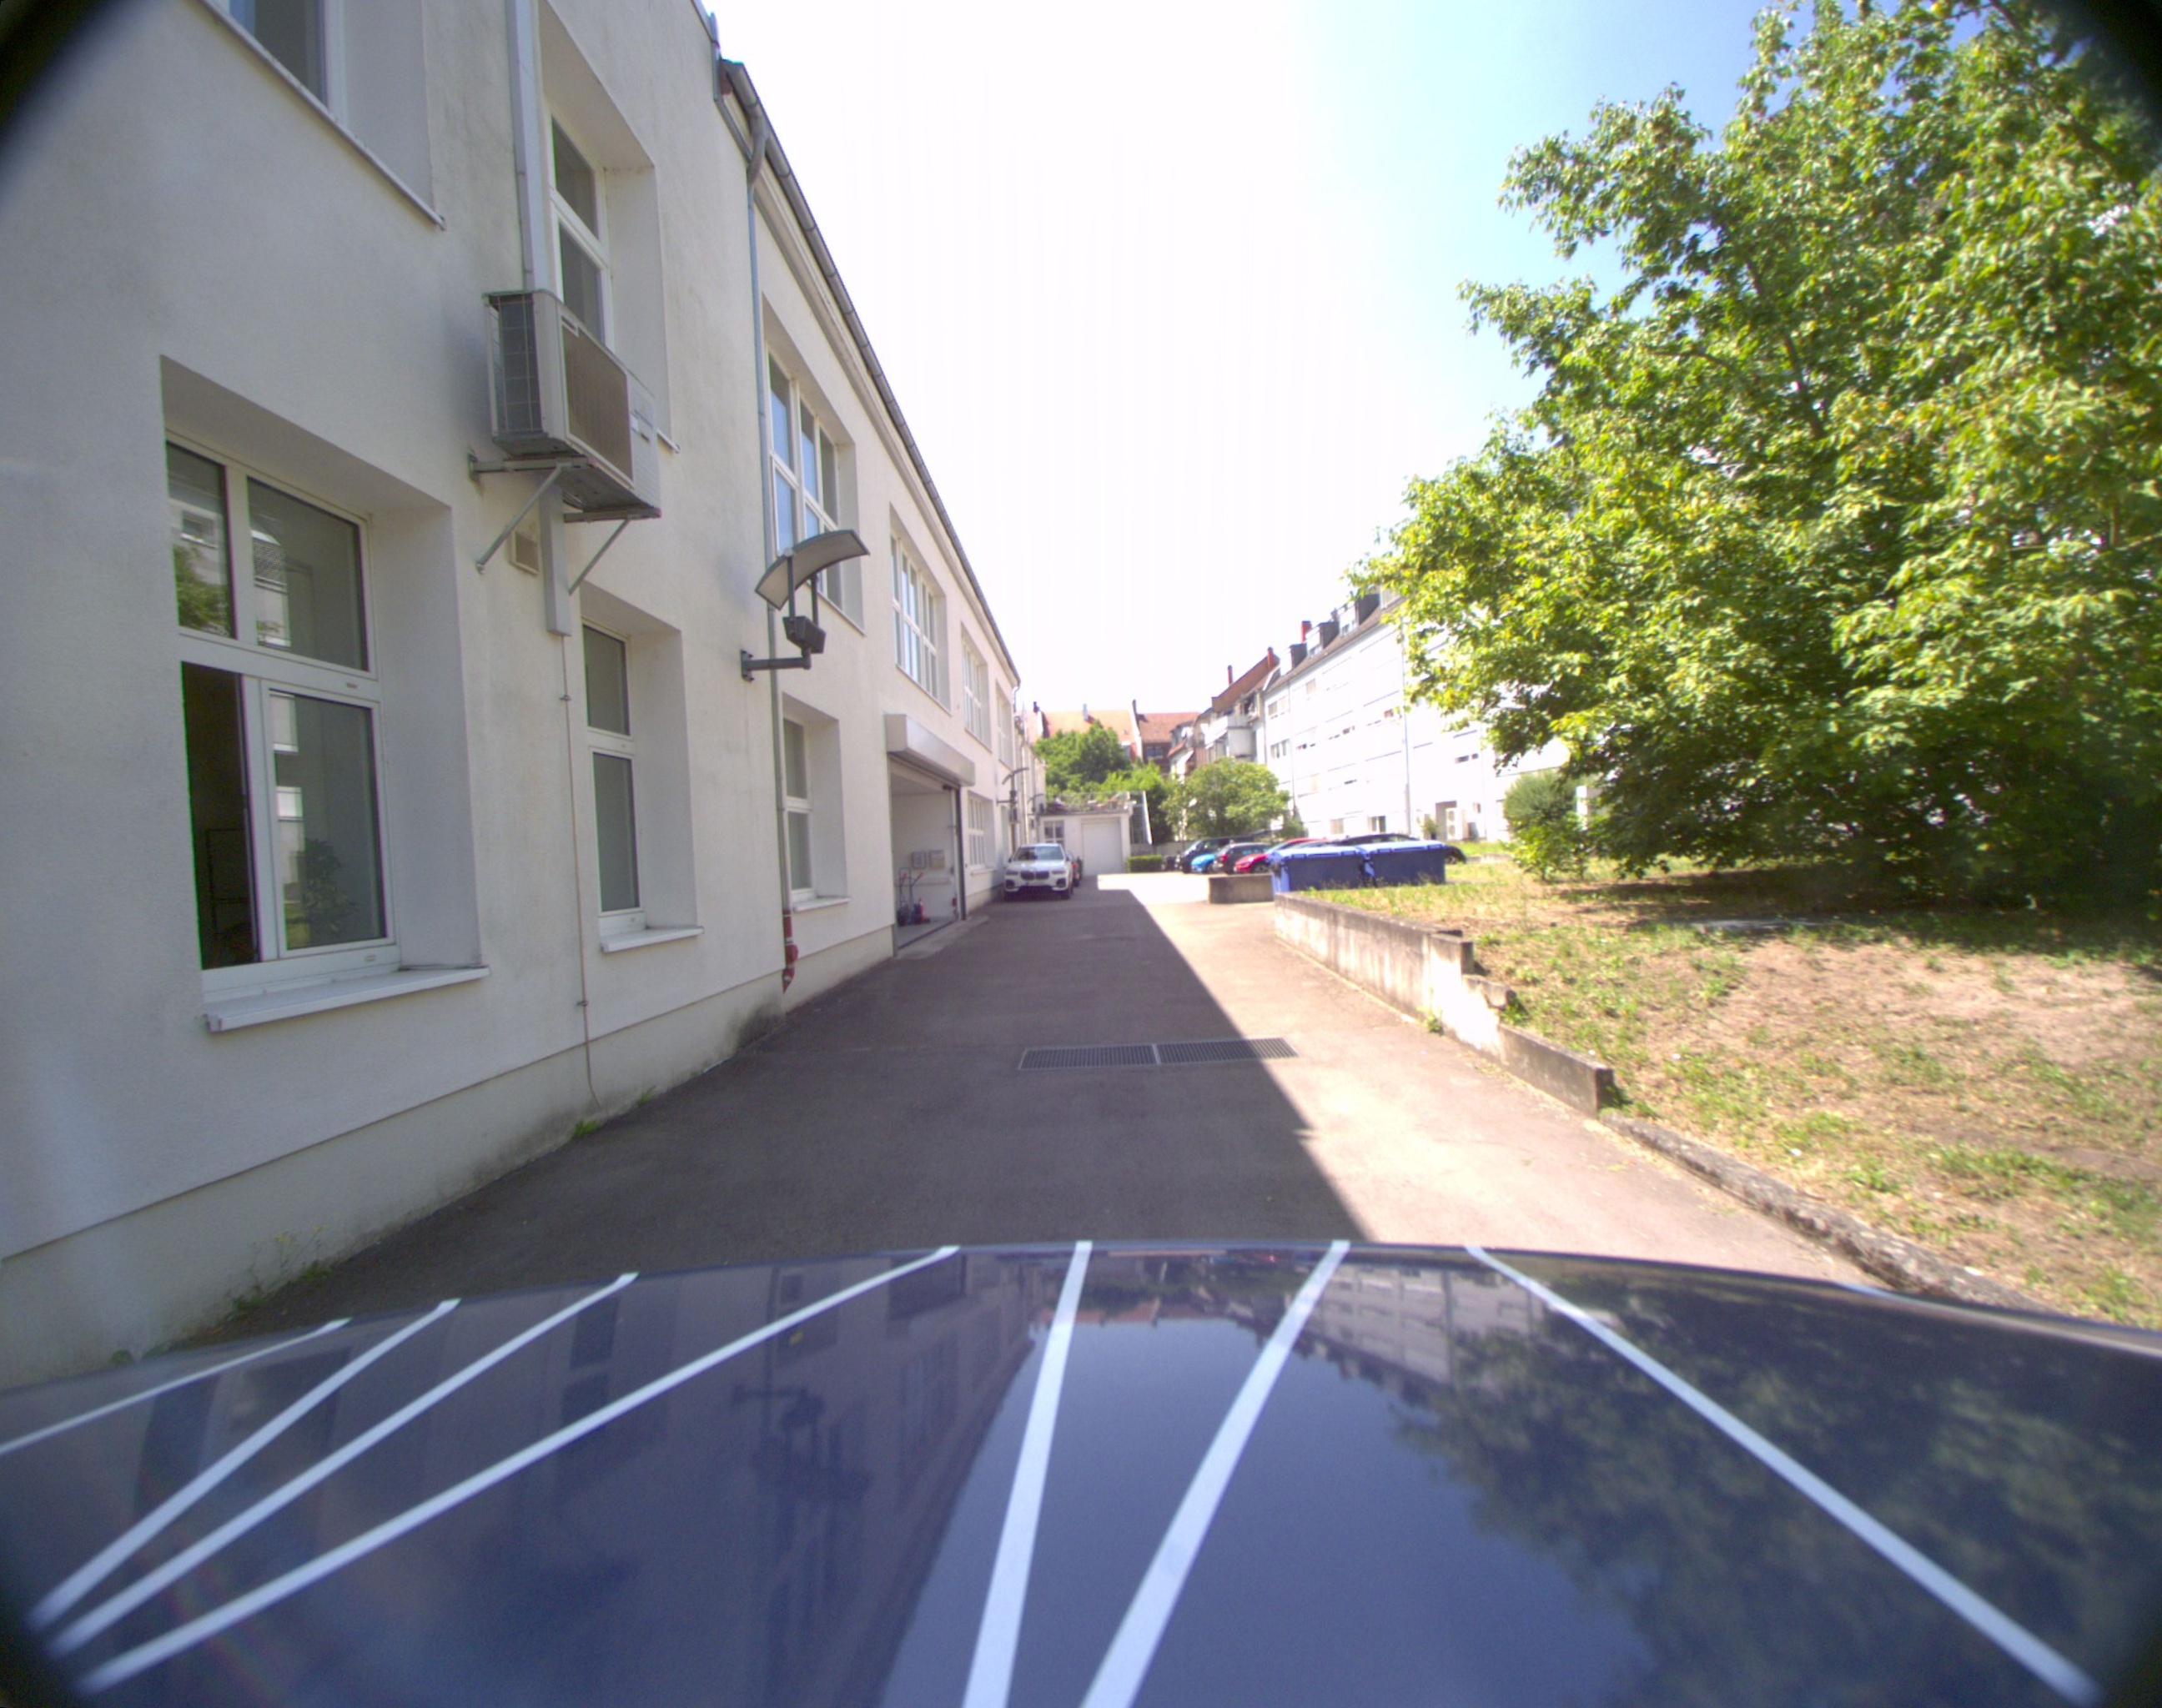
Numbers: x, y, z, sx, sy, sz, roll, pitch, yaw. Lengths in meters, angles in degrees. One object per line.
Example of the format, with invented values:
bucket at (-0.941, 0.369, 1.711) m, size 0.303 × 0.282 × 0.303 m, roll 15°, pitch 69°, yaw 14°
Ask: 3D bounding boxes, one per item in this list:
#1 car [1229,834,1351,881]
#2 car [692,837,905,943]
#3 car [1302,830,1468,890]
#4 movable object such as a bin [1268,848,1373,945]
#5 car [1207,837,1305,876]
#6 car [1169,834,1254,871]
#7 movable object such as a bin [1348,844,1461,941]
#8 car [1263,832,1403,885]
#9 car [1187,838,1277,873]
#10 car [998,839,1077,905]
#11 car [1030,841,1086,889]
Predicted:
car at (8.034, 0.103, 29.450) m, size 4.223 × 1.560 × 1.612 m, roll -3°, pitch 2°, yaw -4°
car at (-5.977, 0.739, 16.319) m, size 3.836 × 2.002 × 1.654 m, roll -3°, pitch 2°, yaw 5°
car at (9.302, 0.146, 23.401) m, size 4.444 × 1.560 × 1.612 m, roll -3°, pitch 2°, yaw -4°
movable object such as a bin at (3.697, 0.631, 11.849) m, size 1.271 × 1.381 × 1.095 m, roll -3°, pitch 2°, yaw 2°
car at (8.265, 0.095, 36.064) m, size 4.223 × 1.560 × 1.612 m, roll -3°, pitch 2°, yaw -4°
car at (7.202, -0.099, 42.087) m, size 4.223 × 1.813 × 2.008 m, roll -3°, pitch 2°, yaw -4°
movable object such as a bin at (4.995, 0.568, 11.834) m, size 1.271 × 1.381 × 1.095 m, roll -3°, pitch 2°, yaw 2°
car at (8.594, 0.118, 26.128) m, size 4.223 × 1.560 × 1.612 m, roll -3°, pitch 2°, yaw -4°
car at (7.743, 0.069, 39.139) m, size 4.223 × 1.560 × 1.612 m, roll -3°, pitch 2°, yaw -4°
car at (-1.257, 0.464, 24.262) m, size 2.011 × 1.793 × 4.726 m, roll -3°, pitch 1°, yaw 2°
car at (-0.916, 0.397, 33.059) m, size 2.011 × 1.793 × 4.726 m, roll -3°, pitch 1°, yaw 2°
